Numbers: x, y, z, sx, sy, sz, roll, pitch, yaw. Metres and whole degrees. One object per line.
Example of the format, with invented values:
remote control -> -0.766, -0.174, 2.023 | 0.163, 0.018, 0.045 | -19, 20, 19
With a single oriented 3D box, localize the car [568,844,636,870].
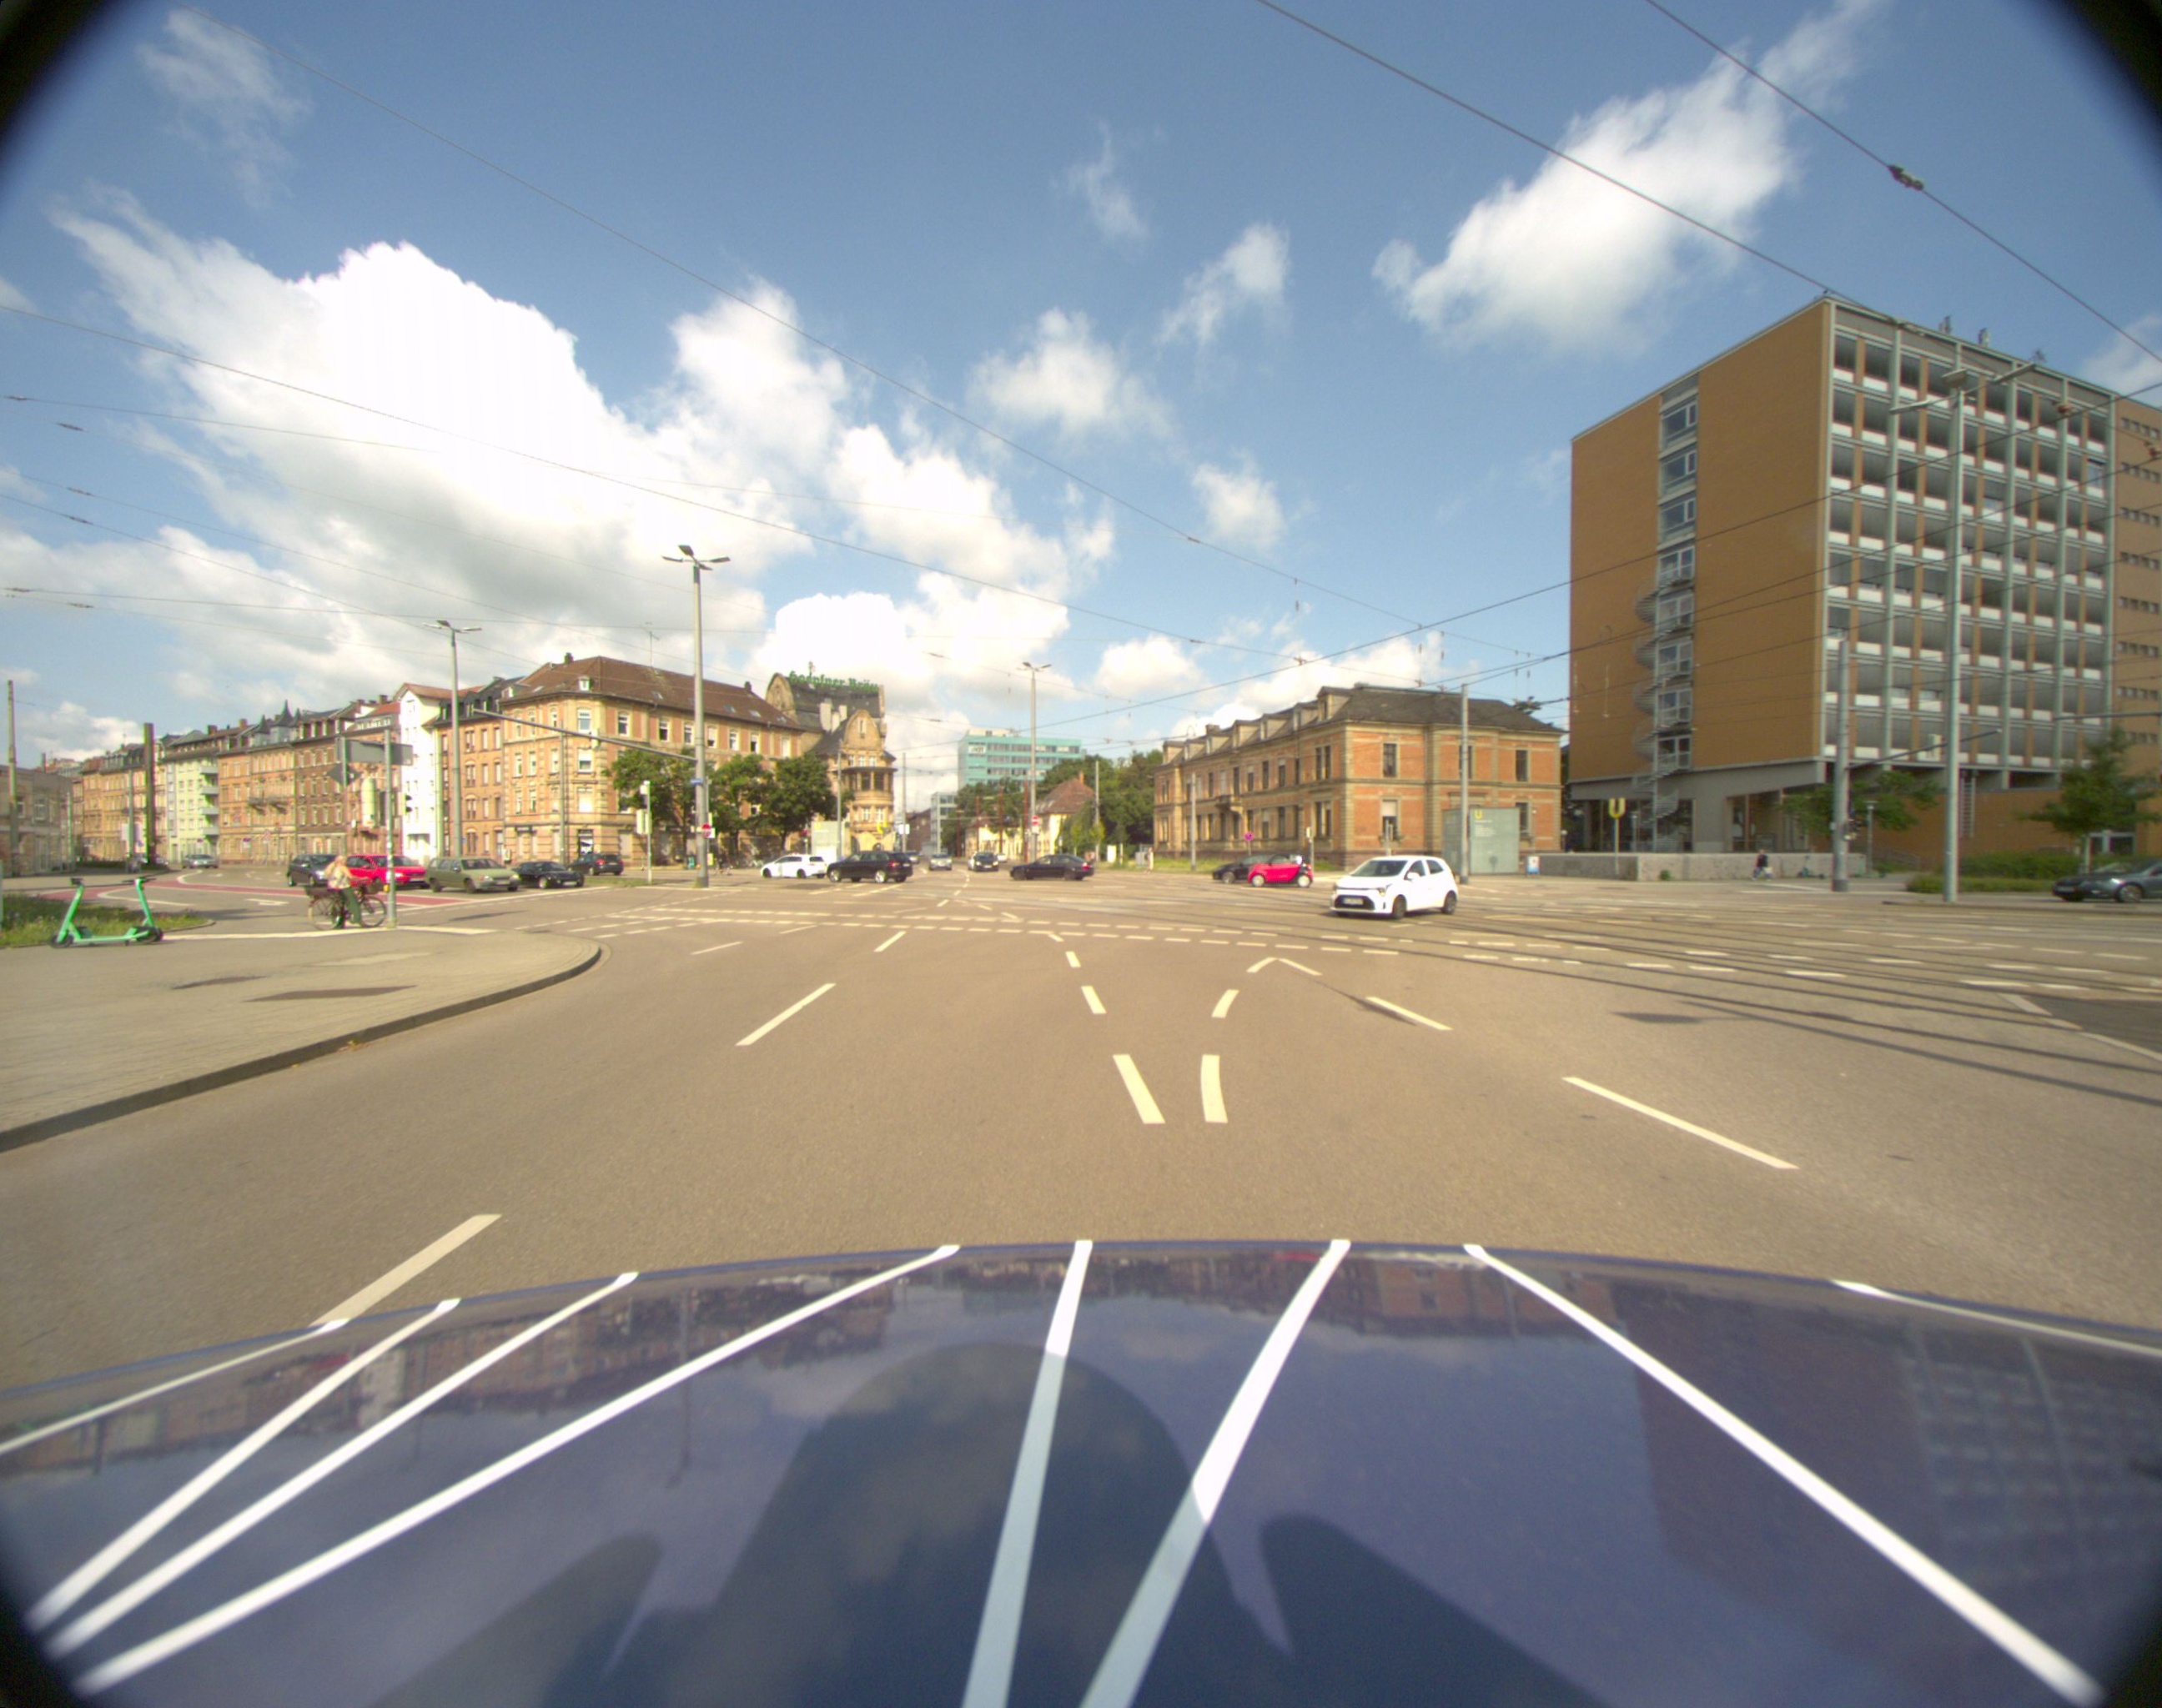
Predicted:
car -> -31.231, 0.197, 49.531 | 4.244, 1.520, 1.775 | 0, 3, 28

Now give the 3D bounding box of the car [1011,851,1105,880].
car -> -1.165, 0.583, 39.367 | 4.500, 1.390, 2.002 | 0, 2, 14

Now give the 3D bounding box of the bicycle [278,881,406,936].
bicycle -> -16.347, 1.167, 16.880 | 0.788, 1.120, 1.993 | -1, -1, 6

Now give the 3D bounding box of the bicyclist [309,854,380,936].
bicyclist -> -16.317, 0.909, 16.840 | 0.711, 1.734, 0.828 | -3, -2, 4

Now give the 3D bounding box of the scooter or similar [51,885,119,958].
scooter or similar -> -16.854, 1.125, 12.875 | 0.382, 1.151, 0.927 | -1, 0, -31

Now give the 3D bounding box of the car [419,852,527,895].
car -> -24.126, 0.758, 30.149 | 3.989, 1.505, 1.829 | -1, 4, 28

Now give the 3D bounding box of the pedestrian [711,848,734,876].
pedestrian -> -24.456, 0.551, 51.813 | 0.993, 1.831, 0.997 | 0, 5, 37

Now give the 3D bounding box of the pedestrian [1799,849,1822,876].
pedestrian -> 42.393, 0.475, 44.163 | 0.936, 1.579, 0.766 | 1, 1, 42

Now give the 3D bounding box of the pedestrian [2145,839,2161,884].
pedestrian -> 50.567, 0.348, 35.475 | 0.805, 2.004, 0.725 | 3, 10, 43

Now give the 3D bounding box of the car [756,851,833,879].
car -> -17.074, 0.661, 45.301 | 4.223, 1.438, 1.687 | -3, 1, 22

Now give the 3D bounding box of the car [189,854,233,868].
car -> -84.895, 0.628, 74.117 | 3.989, 1.324, 2.004 | 0, 1, 29

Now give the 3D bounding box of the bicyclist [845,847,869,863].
bicyclist -> -15.970, 0.094, 54.267 | 1.213, 1.022, 0.994 | -4, 2, 12

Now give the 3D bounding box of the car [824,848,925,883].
car -> -10.530, 0.556, 38.724 | 4.672, 1.659, 2.003 | 0, 2, 21

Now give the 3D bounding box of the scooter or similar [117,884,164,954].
scooter or similar -> -16.465, 1.120, 13.317 | 0.382, 1.151, 0.927 | -1, 0, -43

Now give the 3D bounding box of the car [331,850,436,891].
car -> -29.644, 0.690, 32.284 | 3.989, 1.511, 2.003 | -1, 4, 28

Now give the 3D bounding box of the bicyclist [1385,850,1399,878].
bicyclist -> 18.384, 0.597, 44.912 | 0.654, 1.661, 0.575 | 1, 1, 33

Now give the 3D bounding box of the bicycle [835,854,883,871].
bicycle -> -15.861, 0.590, 54.268 | 3.104, 1.022, 0.996 | -3, 2, 12

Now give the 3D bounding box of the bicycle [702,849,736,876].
bicycle -> -24.752, 0.577, 51.929 | 2.461, 1.716, 1.010 | 0, 4, 38

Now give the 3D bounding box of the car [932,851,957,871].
car -> -12.243, 0.565, 68.022 | 1.917, 1.500, 3.993 | -3, 3, -13

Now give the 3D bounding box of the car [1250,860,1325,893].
car -> 8.867, 0.970, 32.751 | 3.005, 1.207, 1.611 | -3, 2, 12

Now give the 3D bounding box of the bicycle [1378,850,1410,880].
bicycle -> 18.477, 0.636, 44.895 | 1.632, 1.767, 0.733 | 0, 1, 33

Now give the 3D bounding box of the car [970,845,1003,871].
car -> -7.553, 0.300, 60.300 | 2.001, 1.730, 4.333 | -3, 3, -14

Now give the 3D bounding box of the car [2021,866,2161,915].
car -> 33.838, 1.144, 24.318 | 4.538, 1.274, 2.000 | -2, 3, 8

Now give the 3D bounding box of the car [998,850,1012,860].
car -> -12.763, 0.077, 127.604 | 1.757, 1.521, 3.994 | -1, 2, -14

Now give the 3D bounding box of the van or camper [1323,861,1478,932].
van or camper -> 7.939, 0.961, 18.761 | 4.007, 1.467, 1.624 | -2, 0, -35

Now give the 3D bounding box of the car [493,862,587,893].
car -> -23.199, 0.970, 32.566 | 3.989, 1.155, 1.629 | -1, 4, 28

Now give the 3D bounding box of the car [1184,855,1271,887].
car -> 7.206, 0.832, 37.299 | 3.991, 1.446, 1.716 | -1, 2, 18

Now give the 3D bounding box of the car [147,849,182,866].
car -> -99.398, 0.361, 82.374 | 3.989, 1.696, 1.790 | 0, 1, 31

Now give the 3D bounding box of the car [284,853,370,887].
car -> -36.347, 0.734, 36.610 | 3.989, 1.543, 2.004 | 0, 1, 31

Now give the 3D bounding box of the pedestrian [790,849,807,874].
pedestrian -> -19.112, 0.492, 51.404 | 0.707, 1.632, 0.797 | 0, 1, 11

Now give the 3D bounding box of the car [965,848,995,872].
car -> -8.892, 0.479, 66.396 | 2.001, 1.588, 4.675 | -3, 6, -14

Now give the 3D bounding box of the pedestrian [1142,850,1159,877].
pedestrian -> 4.648, 0.627, 50.692 | 0.785, 1.727, 0.857 | 0, 1, -25

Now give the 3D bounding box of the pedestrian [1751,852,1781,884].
pedestrian -> 35.333, 0.717, 39.183 | 0.764, 1.579, 0.773 | 1, 3, 3

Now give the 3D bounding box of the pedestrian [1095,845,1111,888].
pedestrian -> 1.083, 0.614, 36.640 | 0.659, 2.003, 0.649 | -2, 4, 4
